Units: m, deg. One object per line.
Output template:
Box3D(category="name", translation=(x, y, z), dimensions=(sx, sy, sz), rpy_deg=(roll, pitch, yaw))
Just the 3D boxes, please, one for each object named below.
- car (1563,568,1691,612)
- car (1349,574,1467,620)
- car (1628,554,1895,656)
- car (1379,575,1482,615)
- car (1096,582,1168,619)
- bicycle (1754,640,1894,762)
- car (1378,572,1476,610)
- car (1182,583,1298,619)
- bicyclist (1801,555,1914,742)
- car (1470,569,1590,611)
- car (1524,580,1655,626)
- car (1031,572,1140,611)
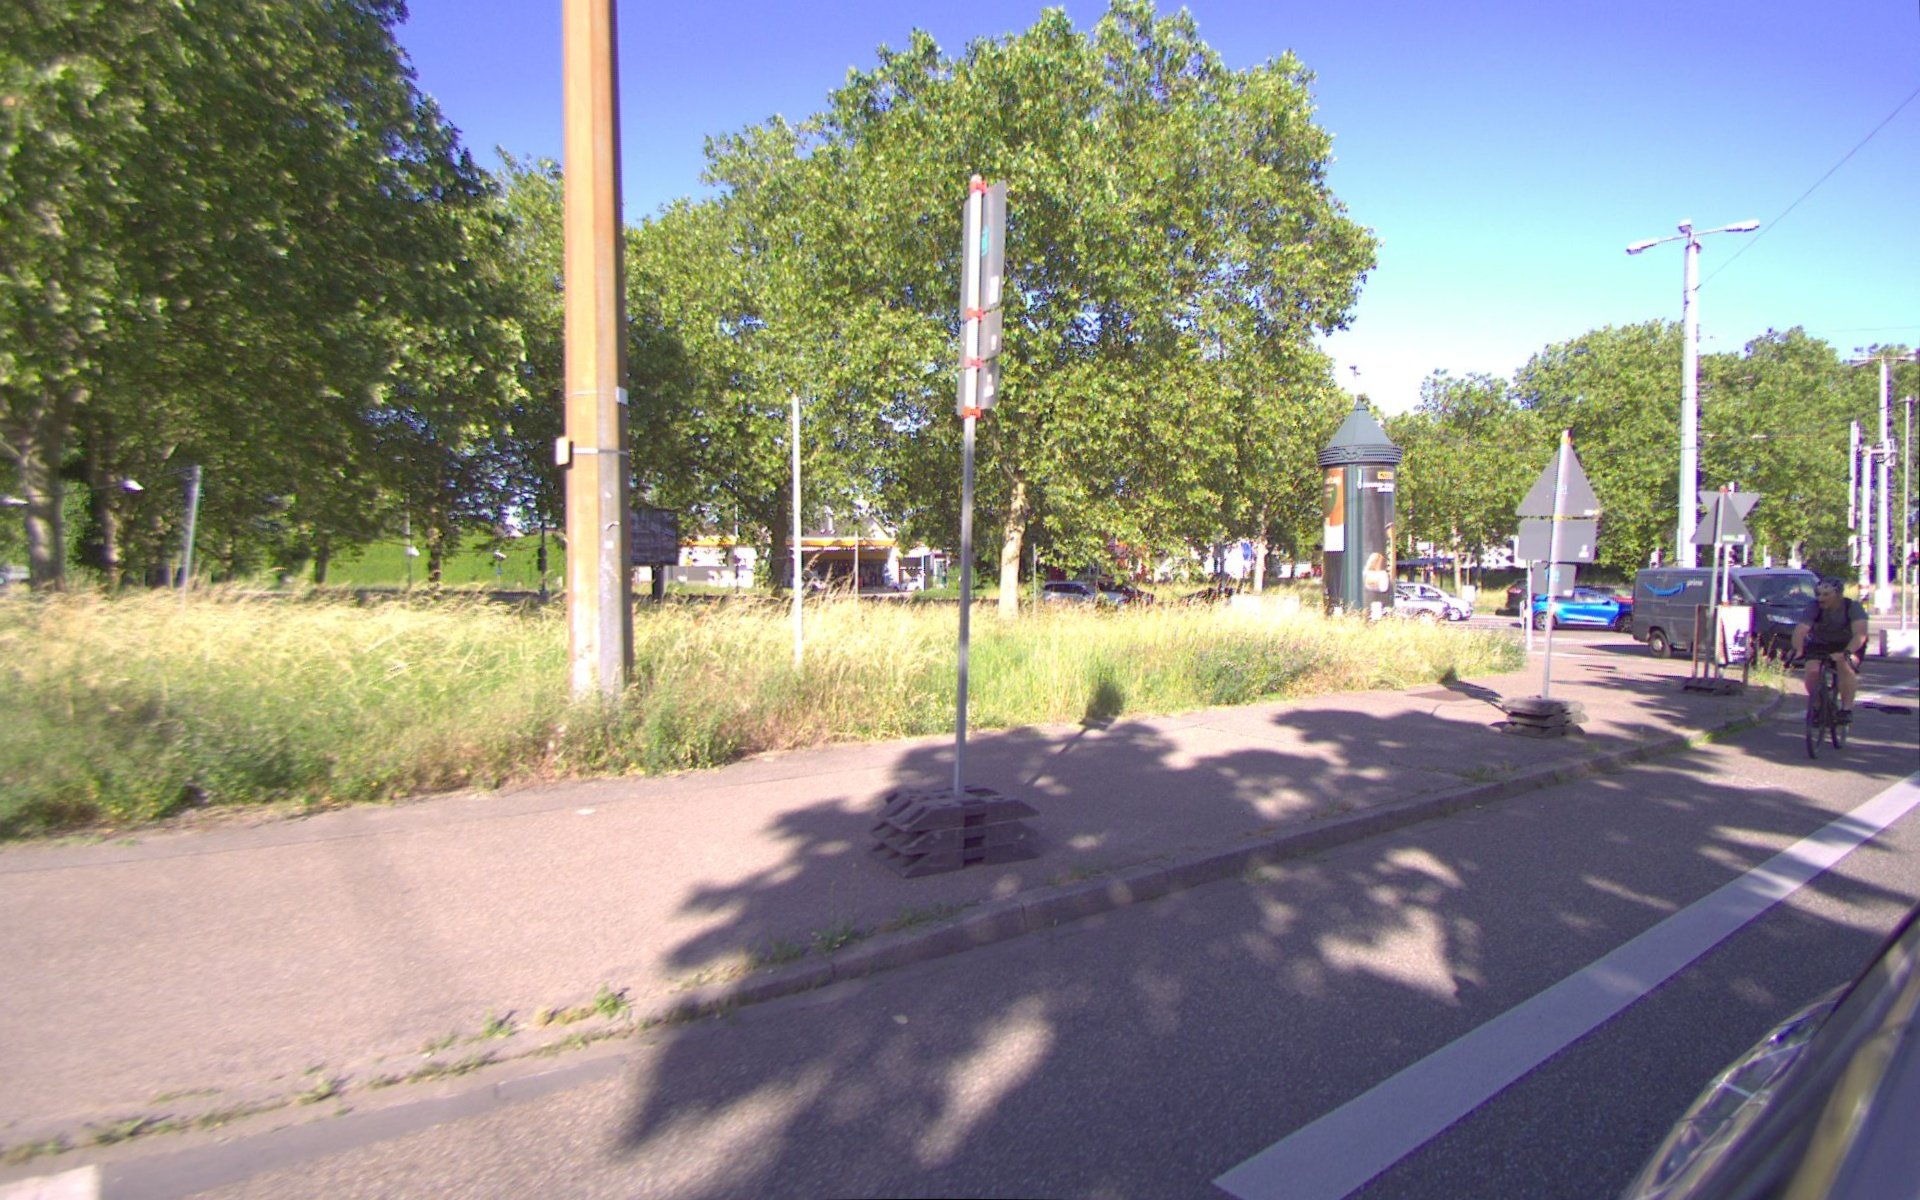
Box3D(category="car", translation=(26.022, -0.425, 39.656), dimensions=(4.056, 1.620, 1.797), rpy_deg=(1, 2, 31))
Box3D(category="car", translation=(17.605, -0.143, 39.785), dimensions=(4.134, 1.699, 1.917), rpy_deg=(1, 2, 27))
Box3D(category="car", translation=(18.204, 0.029, 23.418), dimensions=(2.090, 2.096, 5.120), rpy_deg=(0, 2, 0))
Box3D(category="car", translation=(20.011, -0.258, 43.080), dimensions=(3.828, 1.620, 1.695), rpy_deg=(1, 1, 31))
Box3D(category="car", translation=(8.364, 0.010, 49.274), dimensions=(3.177, 1.635, 1.361), rpy_deg=(1, 5, 27))
Box3D(category="bicycle", translation=(8.247, 0.914, 9.632), dimensions=(2.050, 0.934, 0.526), rpy_deg=(-2, 2, -36))
Box3D(category="car", translation=(21.139, -0.423, 45.849), dimensions=(3.962, 1.638, 1.981), rpy_deg=(1, 1, 28))
Box3D(category="car", translation=(12.053, -0.011, 43.591), dimensions=(4.525, 1.425, 1.917), rpy_deg=(1, 1, 27))
Box3D(category="bicyclist", translation=(8.627, 0.424, 9.727), dimensions=(0.916, 1.700, 0.617), rpy_deg=(-1, 2, -37))
Box3D(category="car", translation=(24.898, -0.456, 44.411), dimensions=(4.451, 1.732, 1.904), rpy_deg=(1, 2, 27))
Box3D(category="car", translation=(22.826, 0.109, 36.877), dimensions=(3.818, 1.621, 1.699), rpy_deg=(0, 0, 25))
Box3D(category="car", translation=(5.865, -0.403, 47.339), dimensions=(4.730, 1.703, 1.891), rpy_deg=(-1, 2, 28))
